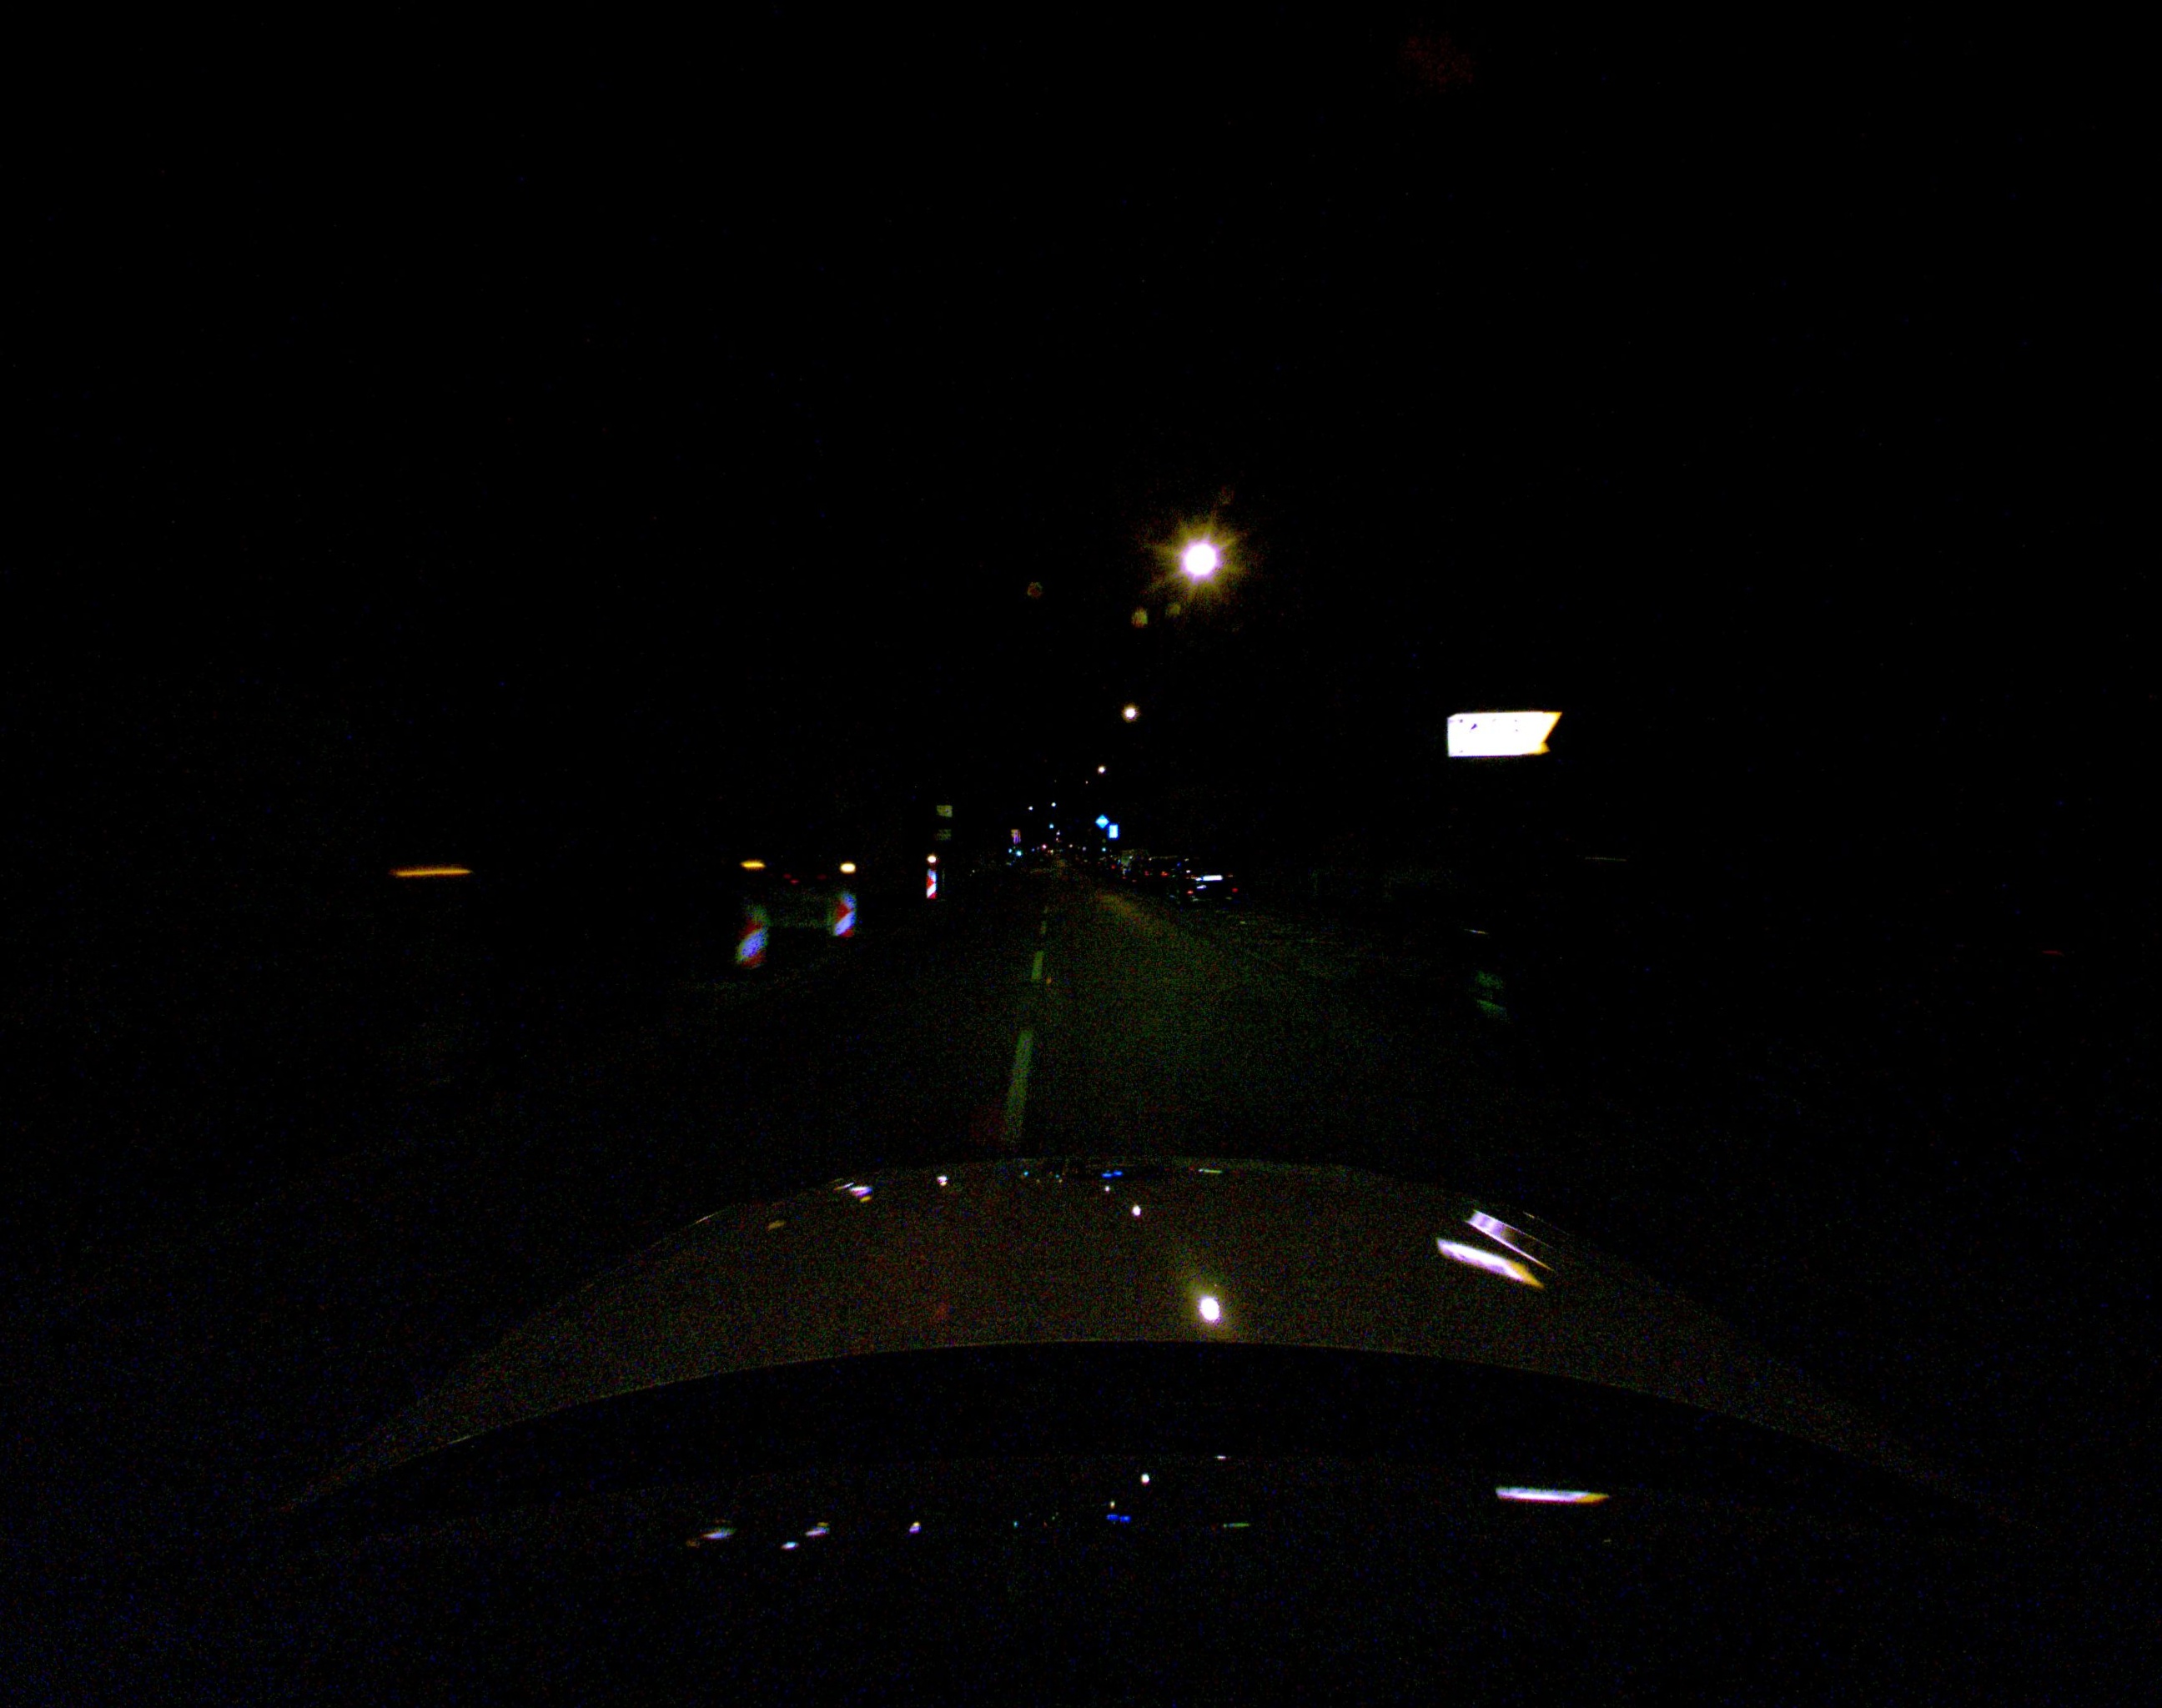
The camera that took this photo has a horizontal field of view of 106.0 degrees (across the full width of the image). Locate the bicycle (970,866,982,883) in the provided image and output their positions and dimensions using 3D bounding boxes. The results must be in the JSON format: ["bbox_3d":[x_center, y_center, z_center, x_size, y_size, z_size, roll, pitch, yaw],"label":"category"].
[{"bbox_3d":[-6.947,1.345,54.020,0.617,1.052,1.721,-1,-1,-1],"label":"bicycle"}]

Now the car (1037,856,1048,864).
[{"bbox_3d":[-7.586,1.101,159.773,1.988,1.502,3.997,-1,-1,-2],"label":"car"}]

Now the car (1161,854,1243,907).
[{"bbox_3d":[3.602,0.764,24.981,1.773,1.426,4.479,-1,-1,-1],"label":"car"}]

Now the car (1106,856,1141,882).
[{"bbox_3d":[2.664,0.921,51.828,1.812,1.427,4.185,-3,0,-2],"label":"car"}]

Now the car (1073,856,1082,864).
[{"bbox_3d":[-0.728,1.269,172.647,1.987,1.520,3.999,-1,-1,0],"label":"car"}]

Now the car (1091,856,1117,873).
[{"bbox_3d":[2.031,0.953,73.221,1.856,1.489,4.539,-1,-1,-4],"label":"car"}]

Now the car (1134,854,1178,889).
[{"bbox_3d":[3.344,0.790,36.896,1.590,1.467,3.717,-1,-1,-1],"label":"car"}]

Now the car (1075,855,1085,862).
[{"bbox_3d":[-0.123,0.923,165.640,1.987,1.520,3.999,-1,-1,0],"label":"car"}]

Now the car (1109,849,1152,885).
[{"bbox_3d":[2.820,0.695,47.050,1.797,1.875,4.767,-4,0,-4],"label":"car"}]

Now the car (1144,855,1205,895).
[{"bbox_3d":[3.570,0.790,31.763,1.774,1.426,3.888,-1,-1,-2],"label":"car"}]

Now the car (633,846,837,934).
[{"bbox_3d":[-8.078,0.830,19.162,3.961,1.889,1.914,-2,-1,10],"label":"car"}]

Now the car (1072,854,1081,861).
[{"bbox_3d":[-1.057,0.792,190.246,1.987,1.520,3.999,-1,-1,0],"label":"car"}]

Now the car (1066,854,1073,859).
[{"bbox_3d":[-3.224,0.730,237.771,1.987,1.520,3.999,-1,-1,0],"label":"car"}]

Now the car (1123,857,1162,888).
[{"bbox_3d":[3.088,0.930,41.562,1.590,1.467,3.889,-1,-1,-1],"label":"car"}]

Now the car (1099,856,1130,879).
[{"bbox_3d":[2.525,1.008,62.267,1.820,1.623,4.451,-3,0,-4],"label":"car"}]

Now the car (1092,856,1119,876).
[{"bbox_3d":[1.971,0.973,67.800,1.771,1.544,4.539,-1,-1,-4],"label":"car"}]

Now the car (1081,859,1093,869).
[{"bbox_3d":[0.980,1.724,141.775,1.987,1.516,3.999,-1,0,0],"label":"car"}]

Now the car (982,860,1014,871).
[{"bbox_3d":[-11.915,1.616,117.392,4.428,1.449,1.998,-1,-1,-3],"label":"car"}]

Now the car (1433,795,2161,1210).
[{"bbox_3d":[4.341,0.594,5.464,1.816,1.599,4.214,-4,-1,-4],"label":"car"}]

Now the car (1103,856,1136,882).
[{"bbox_3d":[2.634,1.012,56.906,1.819,1.588,4.623,-3,0,-3],"label":"car"}]
